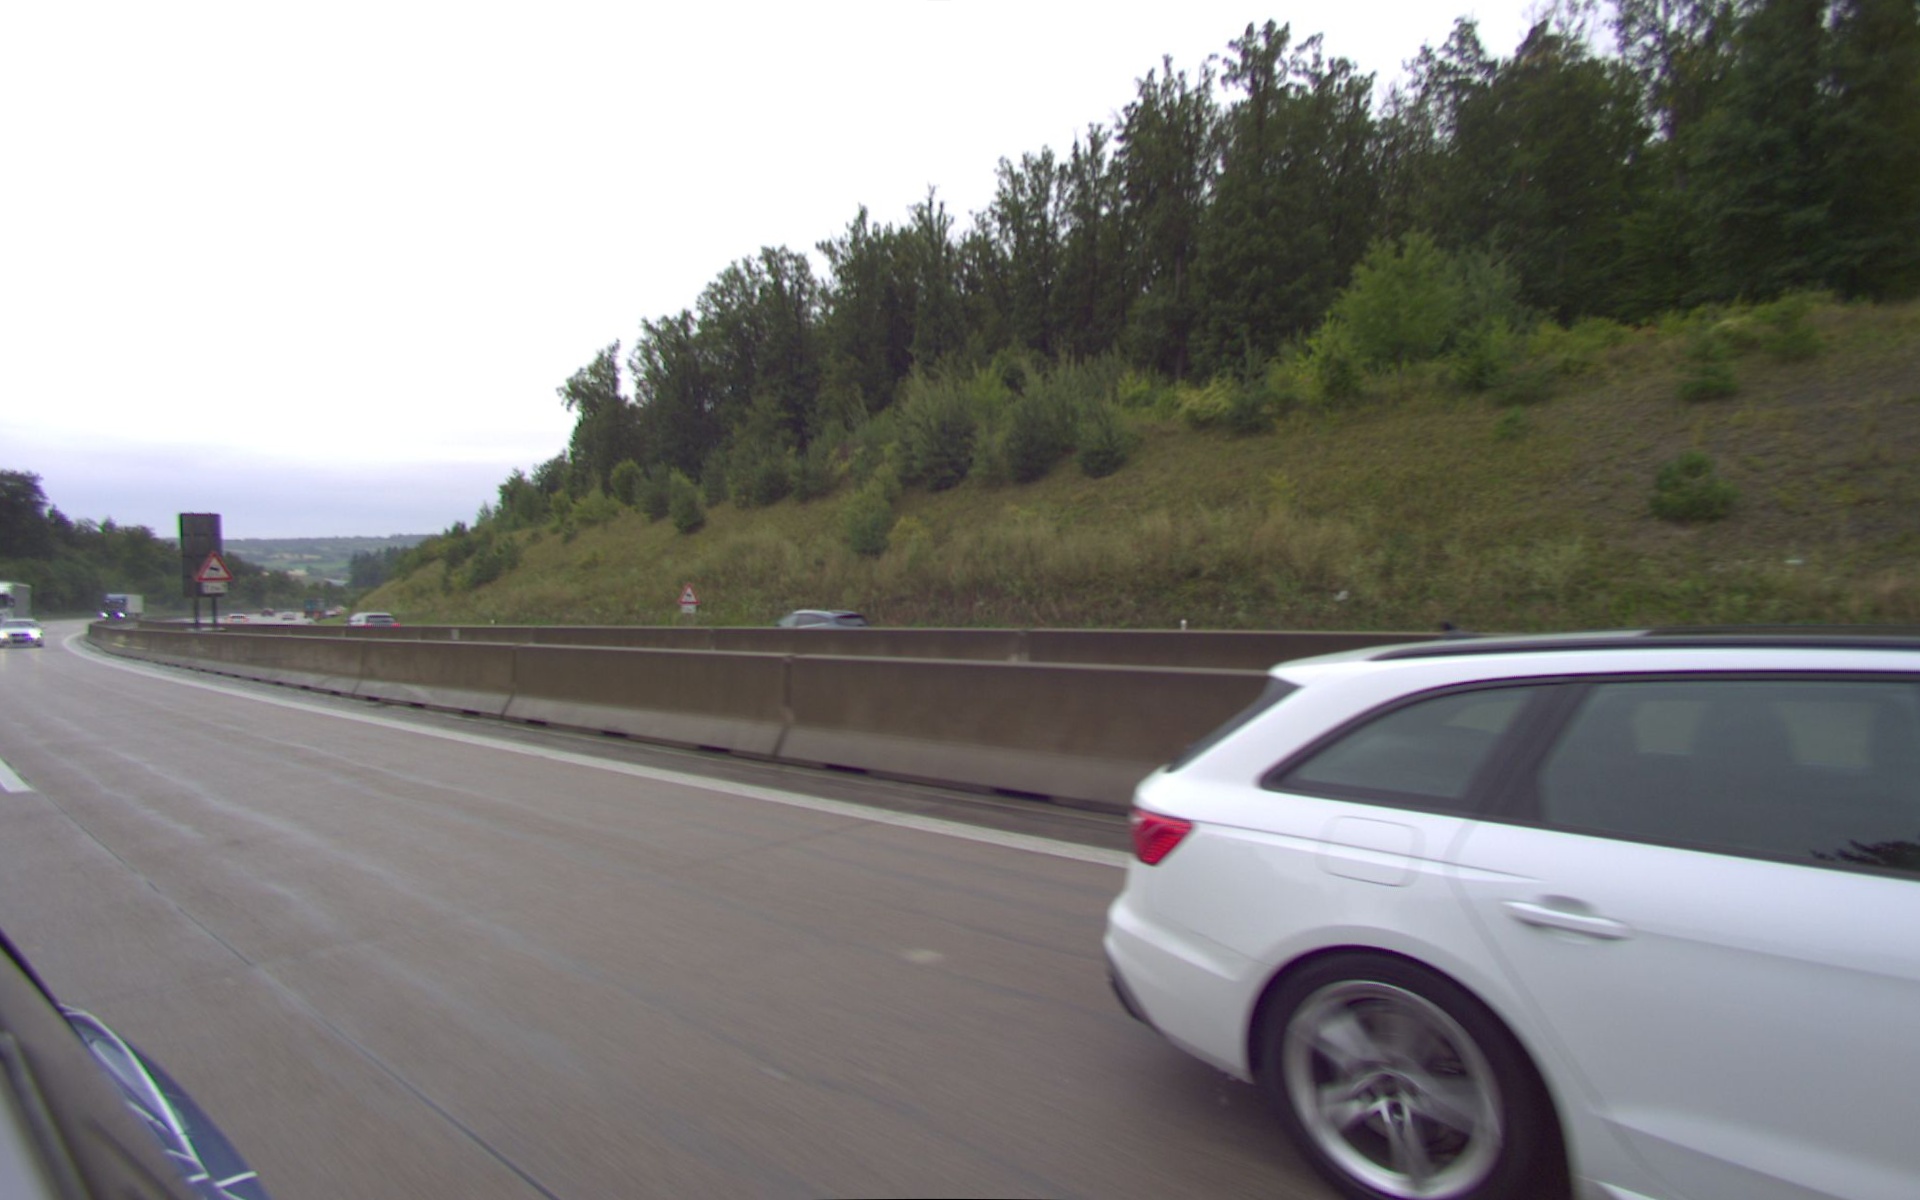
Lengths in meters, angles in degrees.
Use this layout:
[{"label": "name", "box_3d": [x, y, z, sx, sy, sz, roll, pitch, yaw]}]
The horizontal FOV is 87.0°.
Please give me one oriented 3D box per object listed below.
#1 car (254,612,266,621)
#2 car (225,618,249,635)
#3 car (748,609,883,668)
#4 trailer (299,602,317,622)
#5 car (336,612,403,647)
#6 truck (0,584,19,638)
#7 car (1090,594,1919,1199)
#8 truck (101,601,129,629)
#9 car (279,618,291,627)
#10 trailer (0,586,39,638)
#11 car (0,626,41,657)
[{"label": "car", "box_3d": [-141.799, 3.401, 205.073, 1.708, 1.790, 4.768, 1, -1, -38]}, {"label": "car", "box_3d": [-70.165, 2.565, 98.187, 1.754, 1.529, 4.008, 0, -1, -38]}, {"label": "car", "box_3d": [-4.415, 1.125, 30.588, 4.252, 1.651, 1.758, -1, -1, 42]}, {"label": "trailer", "box_3d": [-134.589, 2.480, 208.990, 2.867, 3.918, 11.067, 0, -1, -32]}, {"label": "car", "box_3d": [-28.954, 1.406, 49.561, 4.000, 1.651, 1.757, -1, -1, 43]}, {"label": "truck", "box_3d": [-75.766, 0.938, 78.932, 2.685, 4.071, 5.766, -2, 0, -36]}, {"label": "car", "box_3d": [2.771, 0.690, 1.861, 4.933, 1.418, 1.694, -1, -1, 41]}, {"label": "truck", "box_3d": [-134.167, 2.406, 160.776, 2.694, 4.183, 8.643, 0, -1, -35]}, {"label": "car", "box_3d": [-119.754, 3.994, 179.542, 1.708, 1.588, 4.254, 1, -1, -36]}, {"label": "trailer", "box_3d": [-79.881, 1.078, 84.646, 2.644, 4.071, 13.736, -2, 0, -36]}, {"label": "car", "box_3d": [-47.280, 2.049, 50.590, 1.822, 1.494, 4.456, 0, -1, -40]}]
